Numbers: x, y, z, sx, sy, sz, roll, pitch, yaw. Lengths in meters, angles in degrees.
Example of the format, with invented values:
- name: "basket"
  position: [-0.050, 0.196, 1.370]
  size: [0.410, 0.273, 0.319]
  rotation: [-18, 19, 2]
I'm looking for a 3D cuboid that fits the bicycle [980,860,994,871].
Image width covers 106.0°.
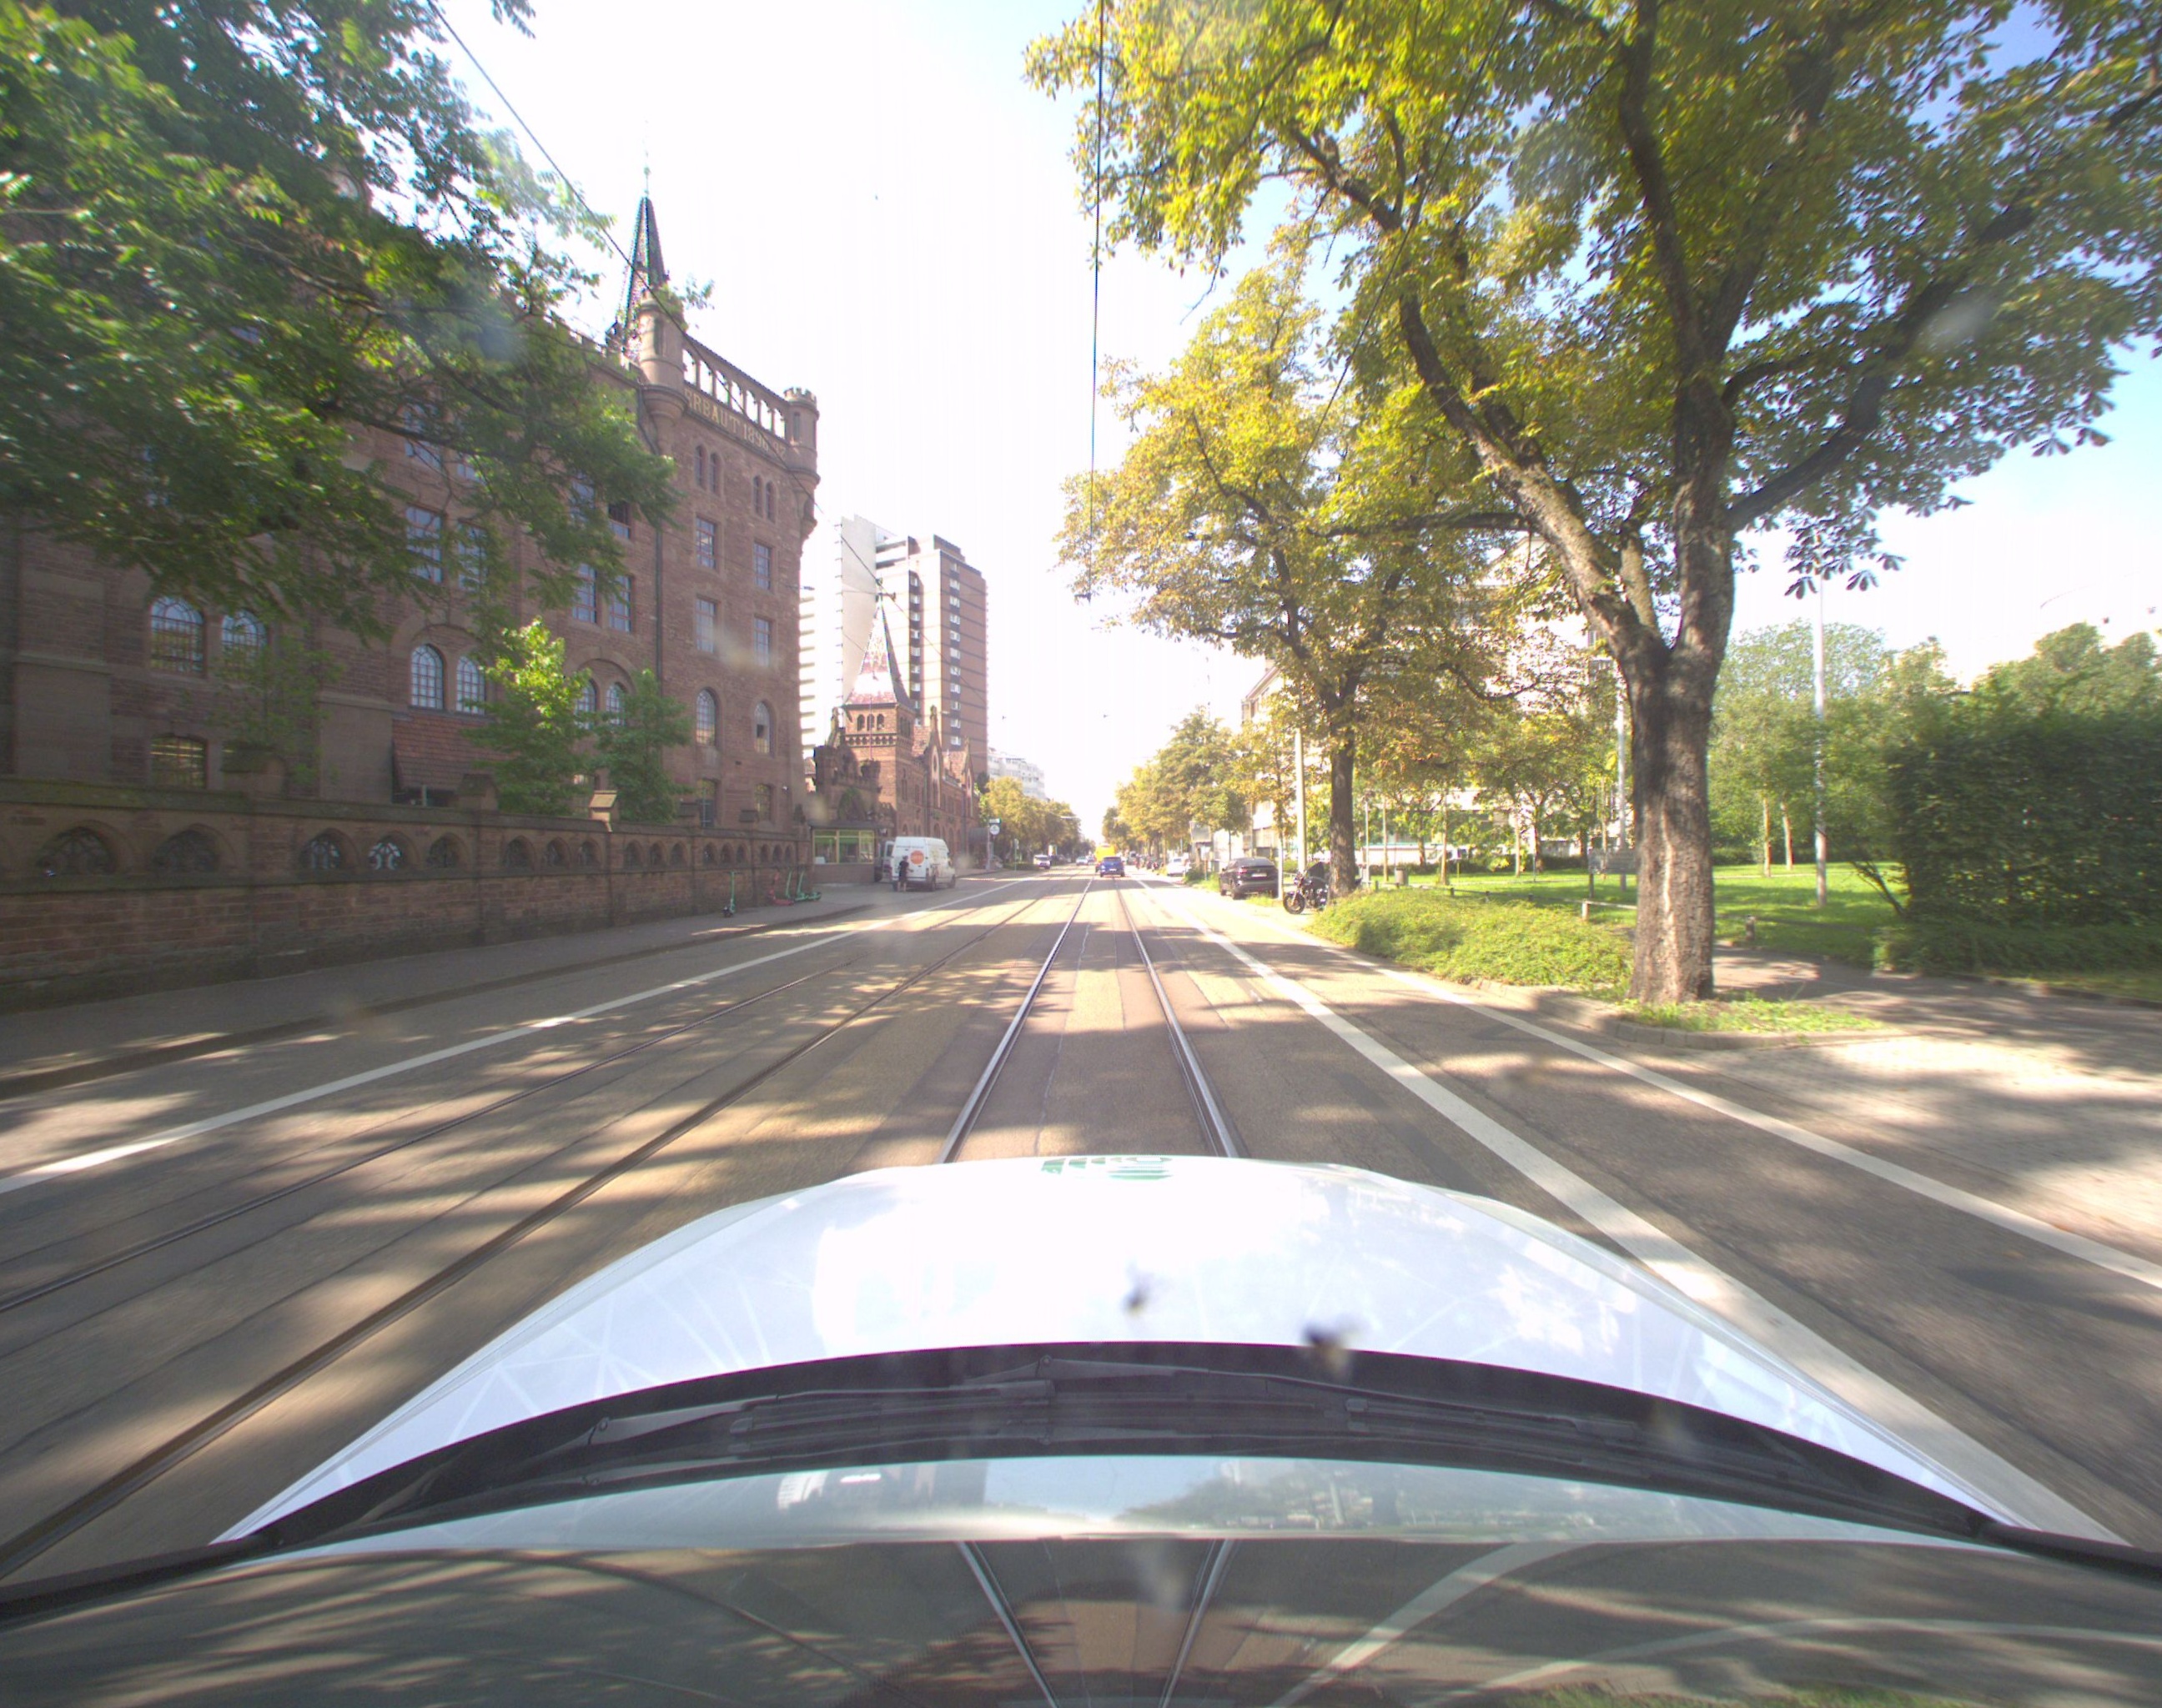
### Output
- name: "bicycle"
  position: [-10.256, 1.254, 88.774]
  size: [1.447, 1.093, 0.399]
  rotation: [3, -1, -3]

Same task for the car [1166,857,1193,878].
- name: "car"
  position: [7.501, 1.030, 62.212]
  size: [1.653, 1.481, 4.219]
  rotation: [-1, -1, 2]

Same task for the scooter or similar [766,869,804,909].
- name: "scooter or similar"
  position: [-9.086, 1.056, 25.049]
  size: [0.336, 1.178, 1.185]
  rotation: [-1, -1, 27]

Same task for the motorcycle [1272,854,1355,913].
- name: "motorcycle"
  position: [6.345, 0.767, 22.368]
  size: [0.854, 1.516, 2.436]
  rotation: [0, 0, -23]

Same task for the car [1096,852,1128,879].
- name: "car"
  position: [2.230, 0.810, 60.093]
  size: [2.129, 1.858, 5.567]
  rotation: [-1, 0, 0]

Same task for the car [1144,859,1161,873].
- name: "car"
  position: [8.088, 1.348, 92.145]
  size: [1.736, 1.556, 4.219]
  rotation: [-1, -1, 2]

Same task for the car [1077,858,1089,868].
- name: "car"
  position: [0.299, 1.506, 135.928]
  size: [1.839, 1.492, 4.870]
  rotation: [-1, 0, 2]

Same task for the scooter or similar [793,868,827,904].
- name: "scooter or similar"
  position: [-9.088, 1.069, 27.356]
  size: [0.336, 1.178, 1.185]
  rotation: [-1, -1, 27]

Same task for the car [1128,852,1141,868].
- name: "car"
  position: [9.668, 1.100, 146.453]
  size: [1.987, 2.756, 5.761]
  rotation: [0, 0, 1]

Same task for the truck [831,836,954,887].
- name: "truck"
  position: [-10.542, 0.394, 45.807]
  size: [6.288, 2.538, 2.135]
  rotation: [2, 1, 6]

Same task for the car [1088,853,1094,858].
- name: "car"
  position: [3.111, 0.506, 246.378]
  size: [1.774, 1.684, 4.347]
  rotation: [0, 0, 1]

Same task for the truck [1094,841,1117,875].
- name: "truck"
  position: [2.421, 0.368, 79.569]
  size: [2.127, 3.124, 6.087]
  rotation: [-1, 0, 2]

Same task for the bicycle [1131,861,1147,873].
- name: "bicycle"
  position: [5.884, 1.304, 82.673]
  size: [1.396, 1.134, 4.001]
  rotation: [-1, 0, 2]

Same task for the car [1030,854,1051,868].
- name: "car"
  position: [-5.495, 0.954, 109.335]
  size: [1.752, 1.796, 3.974]
  rotation: [0, -1, -19]

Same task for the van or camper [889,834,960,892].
- name: "van or camper"
  position: [-7.720, 0.440, 40.903]
  size: [2.104, 2.675, 5.960]
  rotation: [0, 0, 3]

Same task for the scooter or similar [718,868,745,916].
- name: "scooter or similar"
  position: [-8.889, 0.941, 20.742]
  size: [0.421, 1.178, 1.310]
  rotation: [0, 0, -14]

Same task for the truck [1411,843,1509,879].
- name: "truck"
  position: [25.336, 0.498, 54.568]
  size: [5.484, 2.326, 2.300]
  rotation: [0, 0, 3]

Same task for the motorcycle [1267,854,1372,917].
- name: "motorcycle"
  position: [6.027, 0.759, 20.673]
  size: [2.423, 1.516, 0.858]
  rotation: [-1, -1, 40]

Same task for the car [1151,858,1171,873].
- name: "car"
  position: [7.913, 1.165, 80.594]
  size: [1.653, 1.408, 4.219]
  rotation: [-1, -1, 2]

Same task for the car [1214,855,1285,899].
- name: "car"
  position: [6.383, 0.851, 31.337]
  size: [1.750, 1.515, 4.609]
  rotation: [-2, 0, 0]

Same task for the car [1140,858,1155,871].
- name: "car"
  position: [8.617, 1.339, 105.241]
  size: [1.628, 1.585, 4.189]
  rotation: [0, 0, 1]

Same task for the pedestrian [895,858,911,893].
- name: "pedestrian"
  position: [-8.194, 1.002, 37.506]
  size: [0.493, 1.599, 0.555]
  rotation: [-1, -1, 17]

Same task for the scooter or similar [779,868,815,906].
- name: "scooter or similar"
  position: [-9.138, 1.063, 26.222]
  size: [0.336, 1.178, 1.185]
  rotation: [-1, -1, 27]

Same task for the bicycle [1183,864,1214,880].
- name: "bicycle"
  position: [7.150, 1.076, 49.452]
  size: [1.805, 0.958, 0.558]
  rotation: [0, -1, 1]

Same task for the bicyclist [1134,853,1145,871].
- name: "bicyclist"
  position: [5.916, 0.777, 82.697]
  size: [1.028, 1.812, 1.016]
  rotation: [0, -1, 1]
